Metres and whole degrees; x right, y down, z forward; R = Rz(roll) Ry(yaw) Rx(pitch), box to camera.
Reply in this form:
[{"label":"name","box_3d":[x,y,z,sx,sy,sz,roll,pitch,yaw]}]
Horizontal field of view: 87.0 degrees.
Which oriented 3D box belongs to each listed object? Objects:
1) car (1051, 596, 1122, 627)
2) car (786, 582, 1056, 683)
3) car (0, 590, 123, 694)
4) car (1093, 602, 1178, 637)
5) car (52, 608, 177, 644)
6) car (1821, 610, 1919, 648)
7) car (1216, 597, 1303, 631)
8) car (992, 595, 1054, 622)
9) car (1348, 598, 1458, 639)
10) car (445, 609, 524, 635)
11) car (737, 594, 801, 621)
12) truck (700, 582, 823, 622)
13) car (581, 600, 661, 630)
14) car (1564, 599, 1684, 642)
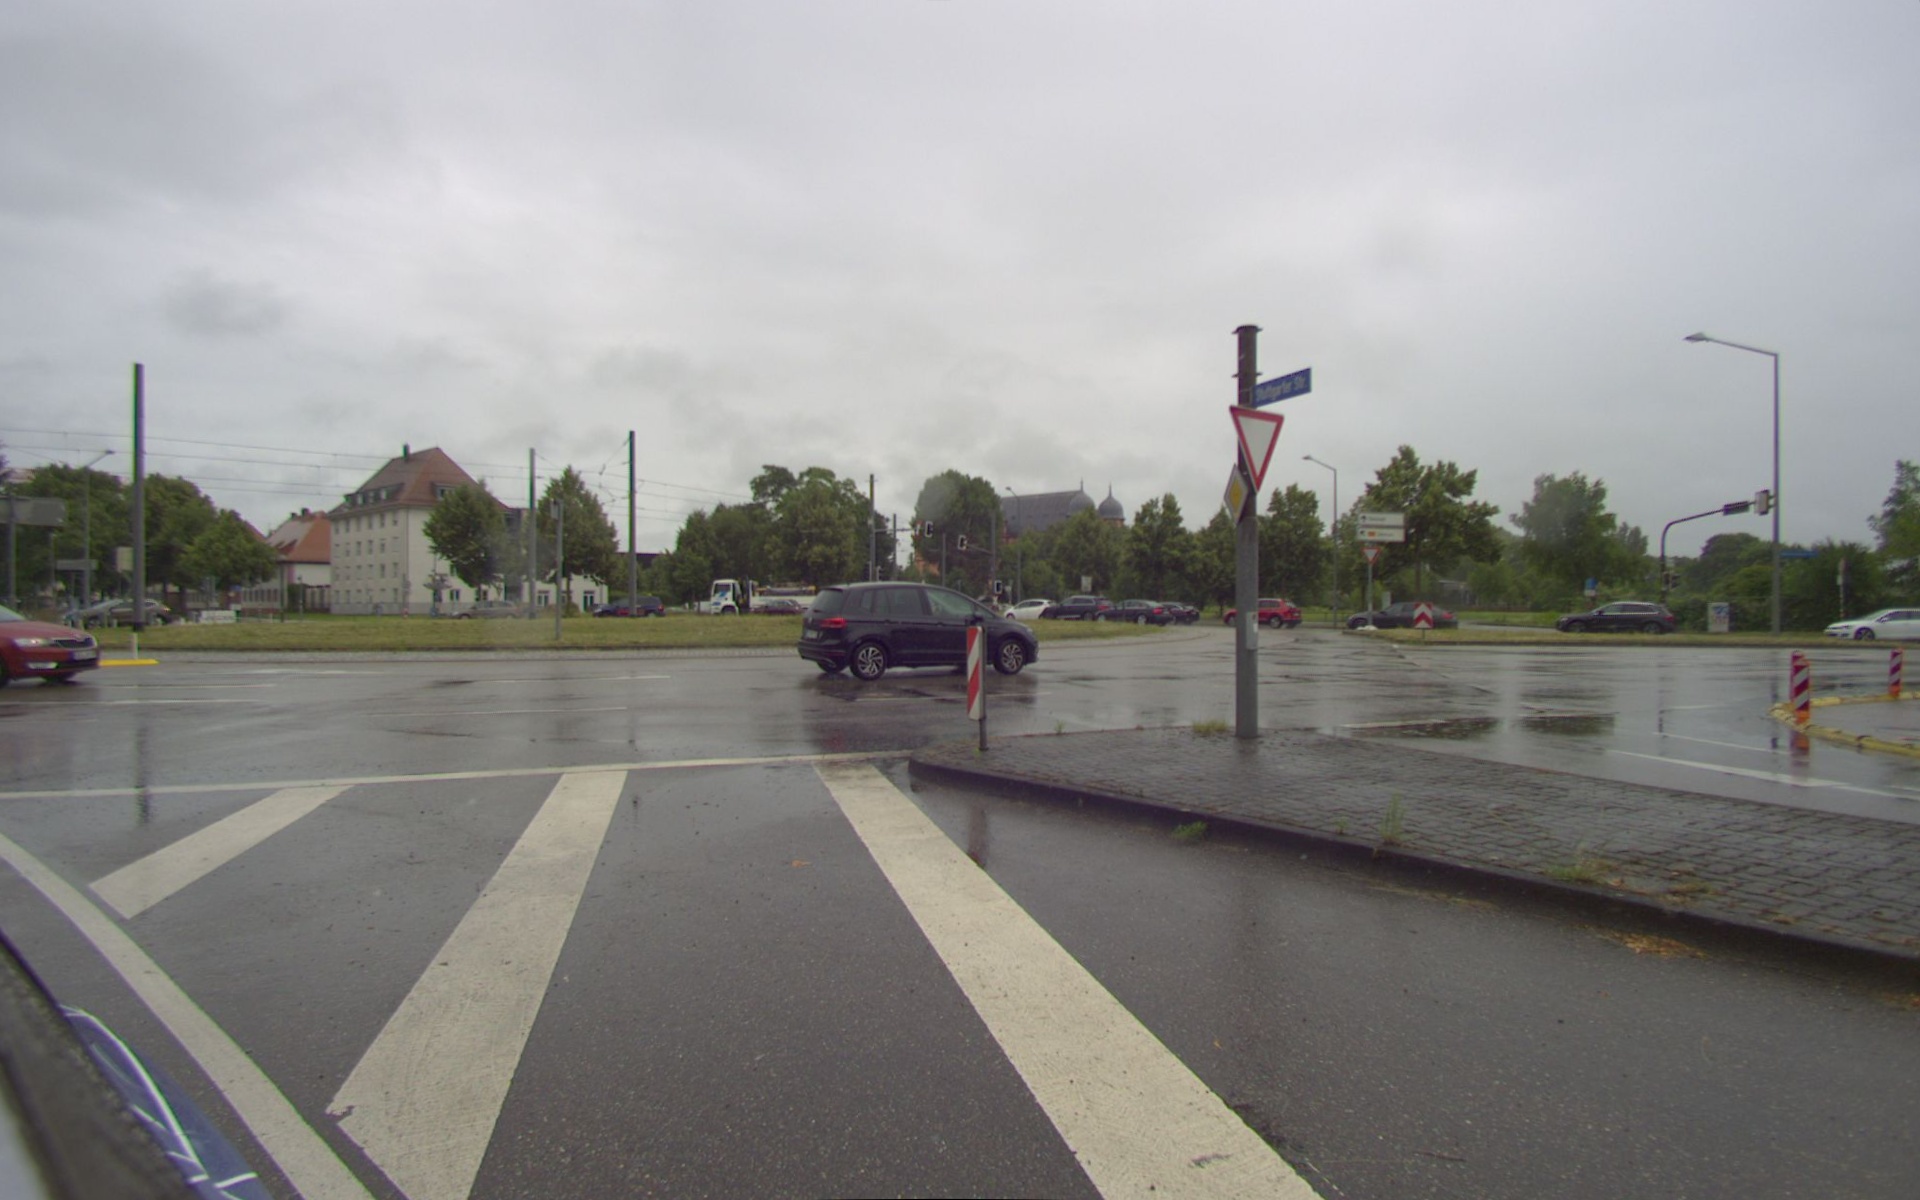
[{"label":"car","box_3d":[7.648,0.671,61.624,1.762,1.660,4.153,0,2,-42]},{"label":"car","box_3d":[-0.645,0.474,17.318,4.257,1.529,1.795,-1,1,-27]},{"label":"car","box_3d":[-15.598,0.619,15.281,4.246,1.470,1.793,-1,1,-9]},{"label":"car","box_3d":[9.341,1.002,54.153,1.760,1.660,4.403,0,2,-38]},{"label":"car","box_3d":[-41.691,1.249,50.001,1.603,1.503,4.510,2,2,26]},{"label":"car","box_3d":[38.131,1.179,41.290,4.219,1.386,1.621,2,2,21]},{"label":"car","box_3d":[16.965,0.764,57.425,4.395,1.660,1.763,3,2,44]},{"label":"car","box_3d":[4.310,0.588,69.859,1.760,1.660,4.403,0,2,-39]},{"label":"car","box_3d":[20.333,0.815,46.502,4.383,1.660,1.769,2,2,34]},{"label":"car","box_3d":[-30.881,1.412,65.708,4.472,1.503,1.616,0,2,-33]},{"label":"car","box_3d":[-12.698,0.487,67.538,3.943,1.660,1.790,1,2,-1]},{"label":"truck","box_3d":[-14.610,0.131,74.731,8.671,2.731,2.001,1,2,-1]},{"label":"car","box_3d":[-21.666,0.954,64.681,4.782,1.757,1.784,0,2,-19]},{"label":"car","box_3d":[29.927,0.883,45.667,4.381,1.660,1.767,2,2,37]}]
